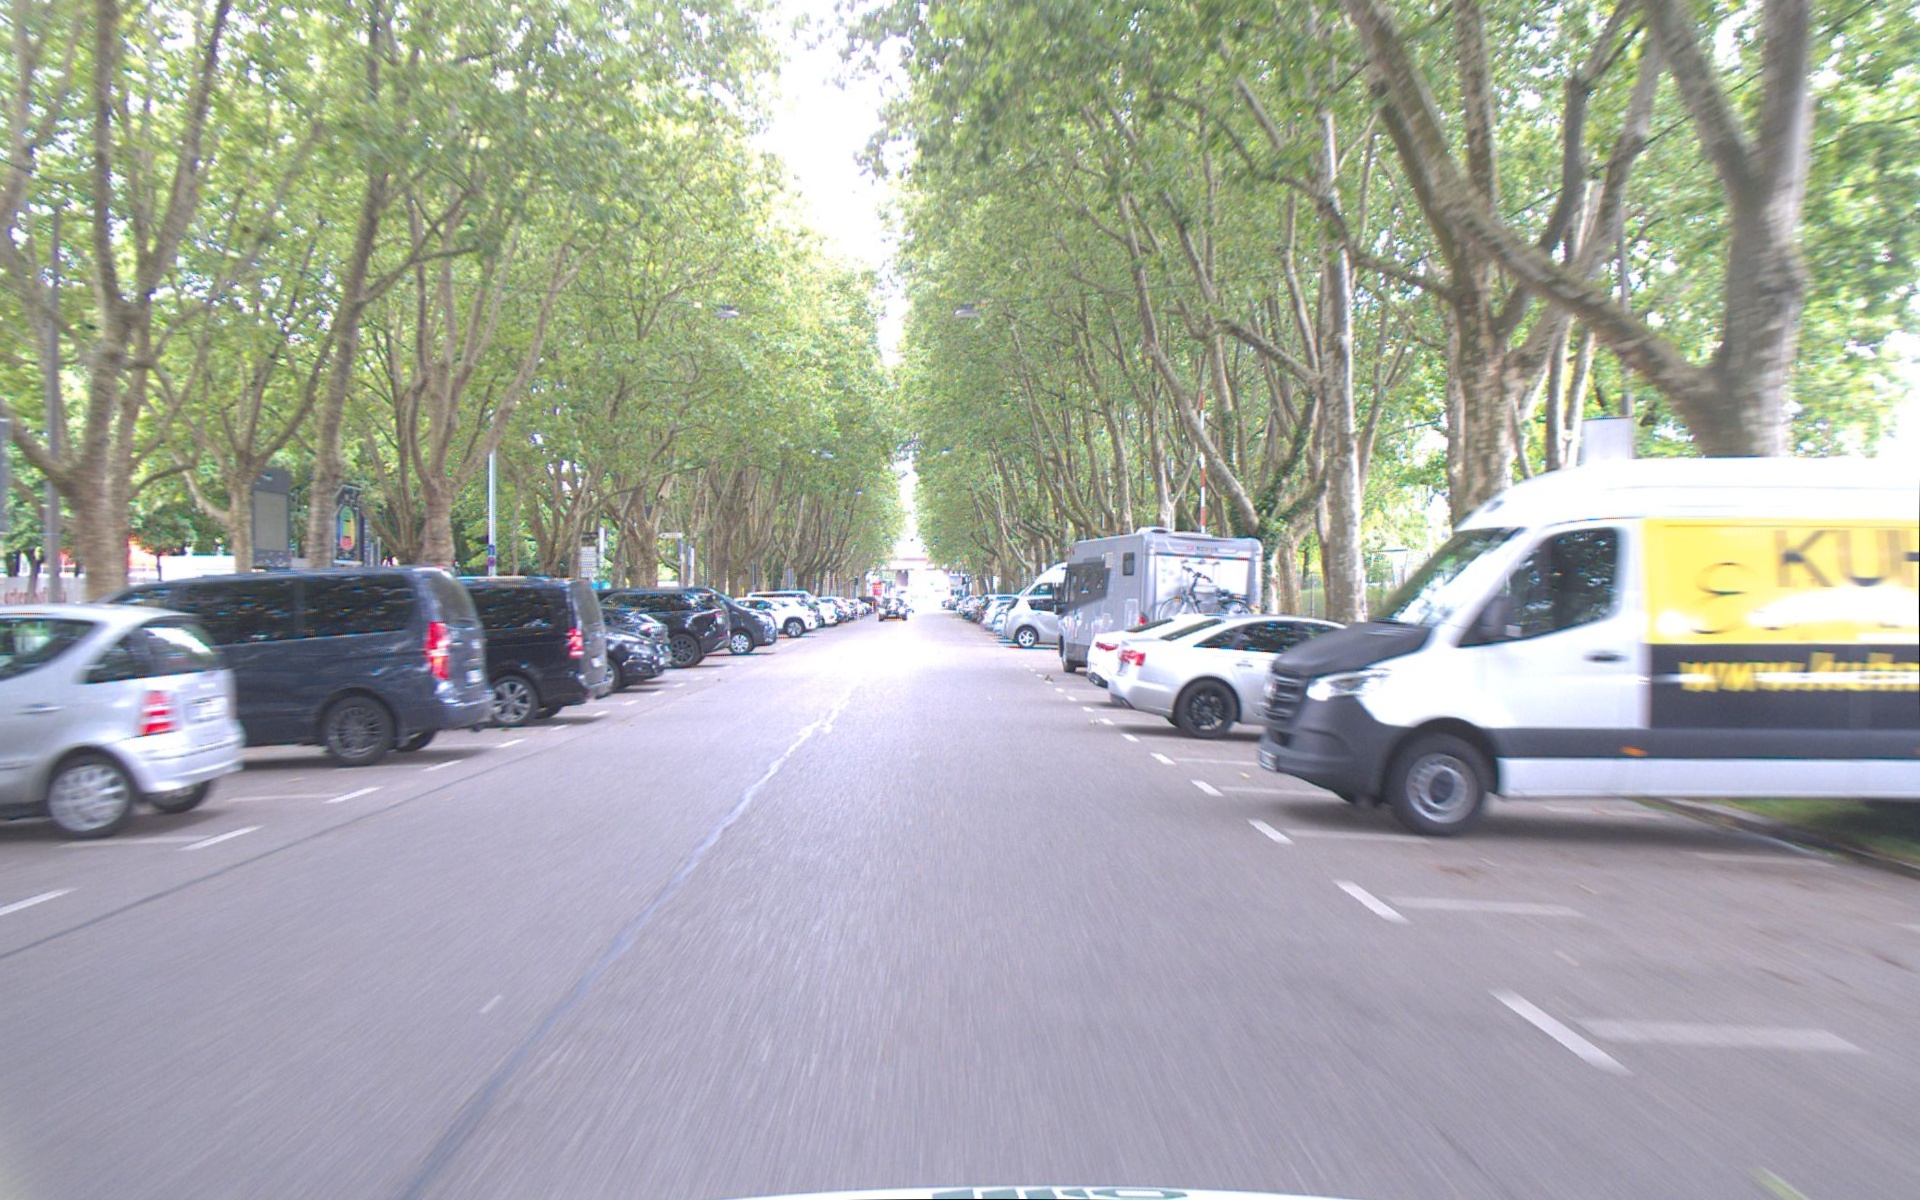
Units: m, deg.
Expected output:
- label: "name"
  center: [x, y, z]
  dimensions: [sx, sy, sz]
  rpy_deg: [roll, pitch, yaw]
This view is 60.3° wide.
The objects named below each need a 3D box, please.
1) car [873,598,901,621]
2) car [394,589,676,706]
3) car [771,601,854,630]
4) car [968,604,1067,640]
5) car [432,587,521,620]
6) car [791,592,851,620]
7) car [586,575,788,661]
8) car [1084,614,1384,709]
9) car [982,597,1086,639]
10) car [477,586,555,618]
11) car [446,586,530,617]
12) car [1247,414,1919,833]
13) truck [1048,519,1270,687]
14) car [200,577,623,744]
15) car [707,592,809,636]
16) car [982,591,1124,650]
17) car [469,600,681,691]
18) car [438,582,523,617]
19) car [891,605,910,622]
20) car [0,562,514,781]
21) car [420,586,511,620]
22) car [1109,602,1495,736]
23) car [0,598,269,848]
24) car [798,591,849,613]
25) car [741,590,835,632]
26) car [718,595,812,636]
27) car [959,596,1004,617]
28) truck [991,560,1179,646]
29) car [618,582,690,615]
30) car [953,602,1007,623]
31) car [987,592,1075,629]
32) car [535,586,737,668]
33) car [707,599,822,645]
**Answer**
- label: "car"
  center: [-4.788, 0.634, 108.656]
  dimensions: [1.622, 1.388, 4.108]
  rpy_deg: [-3, 0, -5]
- label: "car"
  center: [-7.492, 0.819, 29.462]
  dimensions: [4.485, 1.812, 1.798]
  rpy_deg: [-2, 1, 0]
- label: "car"
  center: [-8.275, 0.872, 93.100]
  dimensions: [4.355, 1.478, 1.775]
  rpy_deg: [-2, 0, 3]
- label: "car"
  center: [2.631, 1.008, 76.282]
  dimensions: [4.412, 1.552, 1.702]
  rpy_deg: [1, 0, -3]
- label: "car"
  center: [-35.306, 0.249, 120.805]
  dimensions: [5.880, 2.292, 1.999]
  rpy_deg: [1, 0, -2]
- label: "car"
  center: [-8.822, 0.366, 105.333]
  dimensions: [3.752, 1.656, 1.951]
  rpy_deg: [-2, 0, -4]
- label: "car"
  center: [-7.643, 0.488, 46.694]
  dimensions: [5.327, 2.165, 1.939]
  rpy_deg: [-2, 1, -3]
- label: "car"
  center: [4.065, 0.905, 24.974]
  dimensions: [4.232, 1.325, 1.699]
  rpy_deg: [1, 0, -1]
- label: "car"
  center: [2.920, 0.718, 66.006]
  dimensions: [4.035, 1.454, 1.703]
  rpy_deg: [3, -1, 0]
- label: "car"
  center: [-36.983, 0.140, 137.915]
  dimensions: [5.880, 2.571, 1.999]
  rpy_deg: [1, 0, -2]
- label: "car"
  center: [-36.649, 0.120, 128.490]
  dimensions: [5.880, 2.279, 1.999]
  rpy_deg: [1, 0, -2]
- label: "car"
  center: [5.658, 0.170, 12.073]
  dimensions: [6.740, 2.742, 2.127]
  rpy_deg: [1, 0, 0]
- label: "truck"
  center: [3.783, 0.056, 33.348]
  dimensions: [2.413, 2.989, 7.521]
  rpy_deg: [1, 0, -10]
- label: "car"
  center: [-7.116, 0.755, 21.903]
  dimensions: [4.805, 1.958, 2.208]
  rpy_deg: [-2, 0, -1]
- label: "car"
  center: [-8.897, 0.627, 72.952]
  dimensions: [4.254, 1.696, 1.999]
  rpy_deg: [-3, 0, -3]
- label: "car"
  center: [2.834, 0.617, 50.890]
  dimensions: [4.250, 1.646, 1.804]
  rpy_deg: [2, 0, 1]
- label: "car"
  center: [-7.407, 0.851, 31.915]
  dimensions: [3.832, 1.520, 1.747]
  rpy_deg: [-3, 0, -15]
- label: "car"
  center: [-36.574, -0.034, 126.191]
  dimensions: [5.880, 2.571, 1.999]
  rpy_deg: [1, 0, -2]
- label: "car"
  center: [-5.488, 1.200, 152.556]
  dimensions: [1.655, 1.497, 3.837]
  rpy_deg: [-2, 0, -3]
- label: "car"
  center: [-7.158, 0.674, 16.956]
  dimensions: [4.670, 1.958, 2.015]
  rpy_deg: [-2, 0, -6]
- label: "car"
  center: [-35.257, 0.209, 118.064]
  dimensions: [5.880, 2.292, 1.999]
  rpy_deg: [1, 0, -2]
- label: "car"
  center: [3.950, 0.785, 19.592]
  dimensions: [4.268, 1.471, 1.613]
  rpy_deg: [1, 0, 2]
- label: "car"
  center: [-7.278, 0.873, 11.659]
  dimensions: [4.026, 1.596, 1.756]
  rpy_deg: [-3, 0, -6]
- label: "car"
  center: [-10.098, 0.140, 122.556]
  dimensions: [3.752, 1.455, 1.693]
  rpy_deg: [-2, 0, -4]
- label: "car"
  center: [-9.139, 0.576, 88.057]
  dimensions: [4.795, 2.054, 1.919]
  rpy_deg: [-2, 0, -2]
- label: "car"
  center: [-9.217, 0.725, 78.545]
  dimensions: [4.254, 1.696, 1.999]
  rpy_deg: [-3, 0, -3]
- label: "car"
  center: [1.744, 0.534, 136.097]
  dimensions: [3.574, 1.696, 1.517]
  rpy_deg: [1, 0, -5]
- label: "truck"
  center: [4.149, 0.103, 55.674]
  dimensions: [6.163, 2.762, 2.098]
  rpy_deg: [1, 0, 1]
- label: "car"
  center: [-25.610, -0.112, 138.497]
  dimensions: [5.668, 2.642, 2.000]
  rpy_deg: [1, 0, -1]
- label: "car"
  center: [1.544, 0.979, 129.858]
  dimensions: [4.085, 1.624, 1.853]
  rpy_deg: [1, 0, -5]
- label: "car"
  center: [3.553, 0.516, 83.230]
  dimensions: [4.297, 1.786, 1.800]
  rpy_deg: [1, 0, -3]
- label: "car"
  center: [-7.614, 0.639, 39.211]
  dimensions: [4.567, 1.852, 1.802]
  rpy_deg: [-1, -1, -9]
- label: "car"
  center: [-7.645, 0.849, 65.038]
  dimensions: [4.293, 1.624, 1.999]
  rpy_deg: [-2, 0, -3]
